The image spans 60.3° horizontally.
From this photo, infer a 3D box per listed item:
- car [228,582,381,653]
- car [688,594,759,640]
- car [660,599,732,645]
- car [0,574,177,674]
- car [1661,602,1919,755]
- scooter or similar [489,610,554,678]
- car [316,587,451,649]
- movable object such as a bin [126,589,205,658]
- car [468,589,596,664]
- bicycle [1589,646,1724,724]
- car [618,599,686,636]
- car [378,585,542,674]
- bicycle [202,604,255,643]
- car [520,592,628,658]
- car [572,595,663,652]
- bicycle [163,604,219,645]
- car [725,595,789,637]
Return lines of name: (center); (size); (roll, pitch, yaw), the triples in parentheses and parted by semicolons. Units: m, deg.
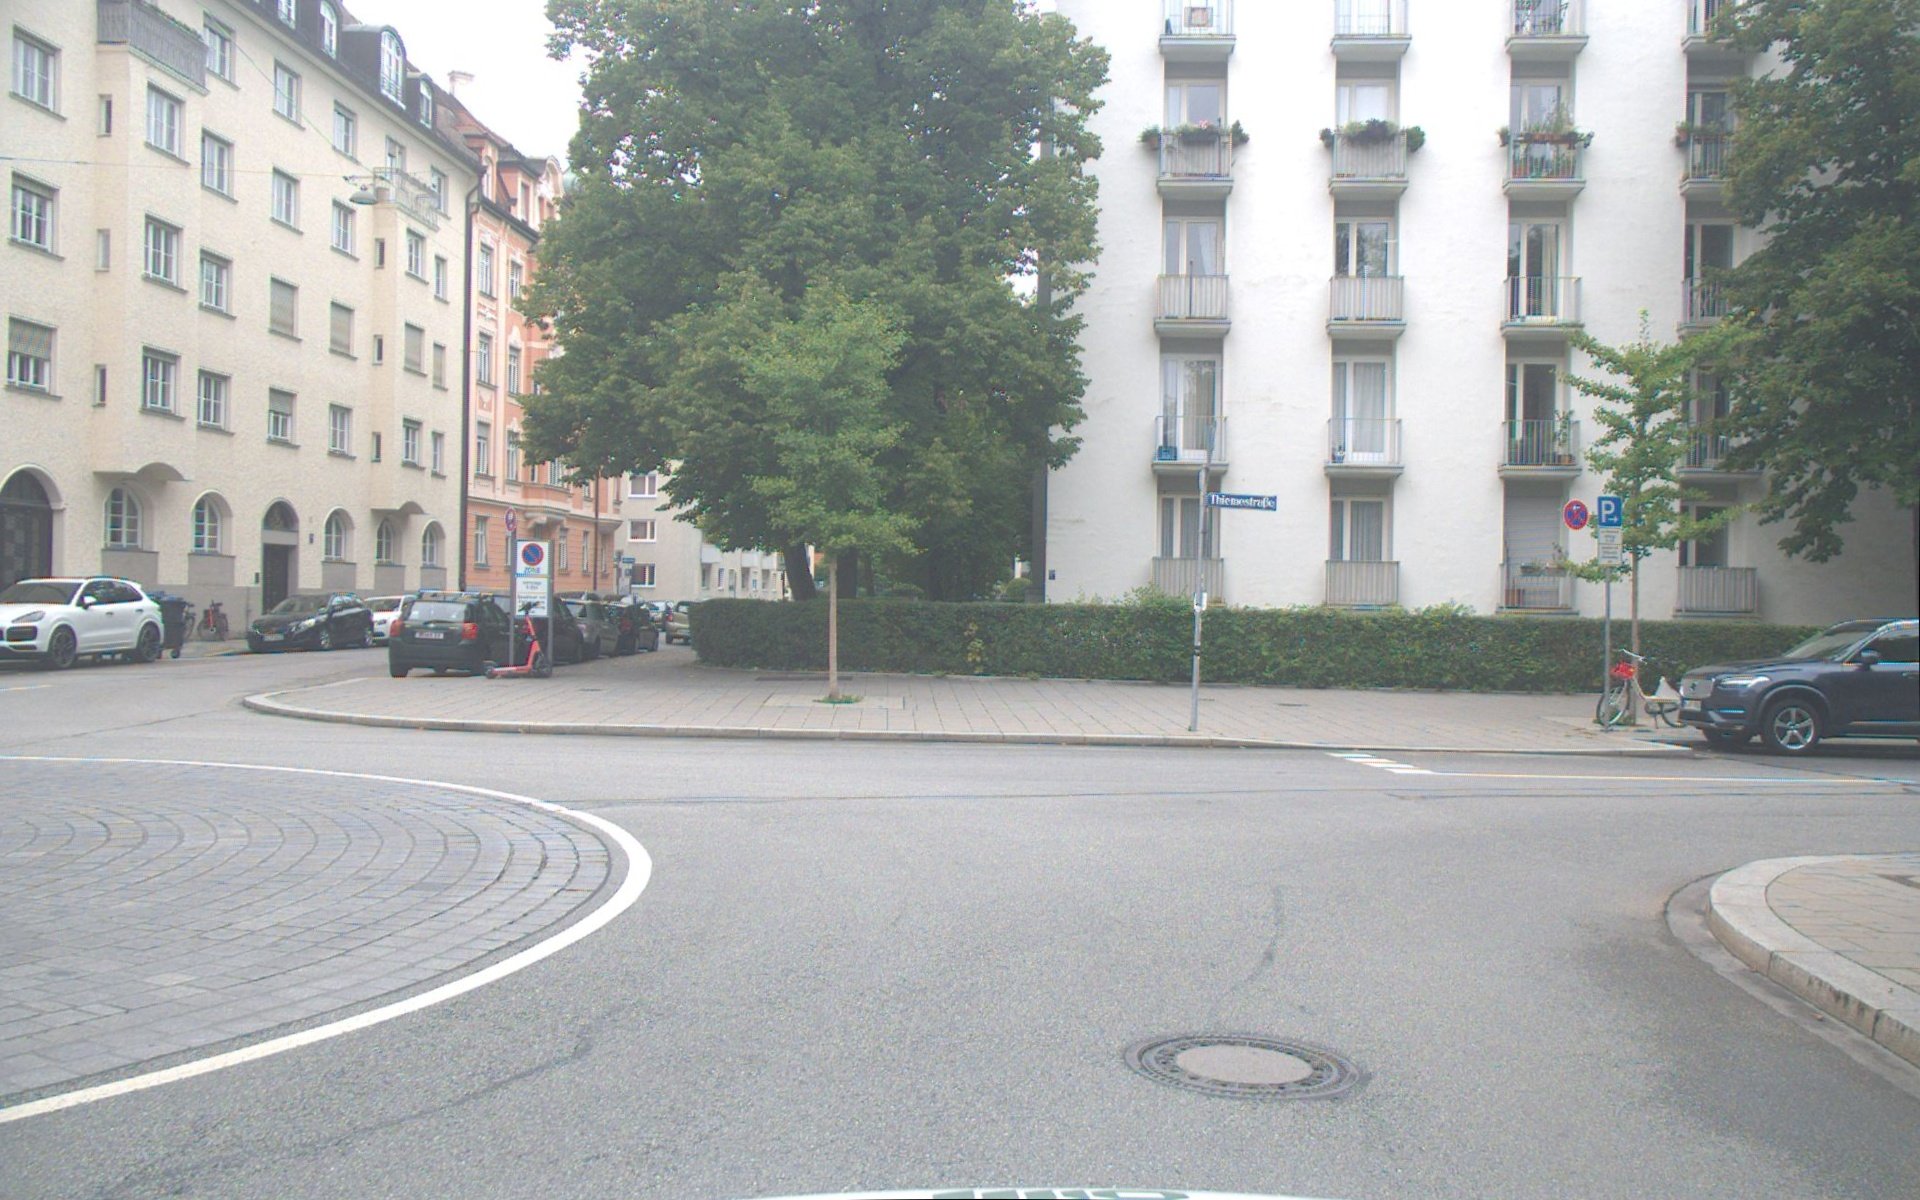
car: (-16.564, 0.430, 42.086); (1.935, 1.644, 4.713); (2, 0, 0)
car: (-8.845, 0.619, 62.194); (1.796, 1.663, 4.117); (0, 0, 5)
car: (-9.141, 0.736, 57.587); (1.797, 1.531, 4.115); (0, 0, 1)
car: (-17.172, 0.409, 31.532); (1.934, 1.730, 4.842); (2, 0, 3)
car: (11.906, 1.018, 21.428); (4.797, 1.823, 1.999); (2, -1, -1)
scooter or similar: (-7.410, 0.746, 27.962); (0.985, 1.107, 0.388); (2, 0, -24)
car: (-16.293, 0.497, 46.966); (1.934, 1.608, 4.410); (2, 0, 5)
movable object such as a bin: (-17.319, 0.511, 36.090); (1.068, 1.450, 1.174); (1, 0, 5)
car: (-9.257, 0.551, 36.090); (1.757, 1.531, 4.233); (0, 0, -1)
bicycle: (10.085, 1.229, 23.964); (1.790, 1.067, 0.491); (1, 0, -7)
car: (-14.319, 0.804, 77.181); (1.934, 1.608, 4.410); (2, 0, 5)
car: (-9.214, 0.516, 30.827); (1.782, 1.531, 4.421); (0, 0, -1)
bicycle: (-20.480, 0.651, 46.332); (0.551, 1.067, 1.831); (1, 0, 3)
car: (-9.419, 0.584, 40.681); (1.757, 1.531, 4.114); (0, 0, -1)
car: (-9.562, 0.629, 46.474); (1.757, 1.531, 4.114); (0, 0, -1)
bicycle: (-20.586, 0.644, 44.314); (0.551, 1.067, 1.831); (1, 0, 3)
car: (-8.298, 0.630, 67.840); (1.796, 1.663, 3.822); (0, 0, 6)
